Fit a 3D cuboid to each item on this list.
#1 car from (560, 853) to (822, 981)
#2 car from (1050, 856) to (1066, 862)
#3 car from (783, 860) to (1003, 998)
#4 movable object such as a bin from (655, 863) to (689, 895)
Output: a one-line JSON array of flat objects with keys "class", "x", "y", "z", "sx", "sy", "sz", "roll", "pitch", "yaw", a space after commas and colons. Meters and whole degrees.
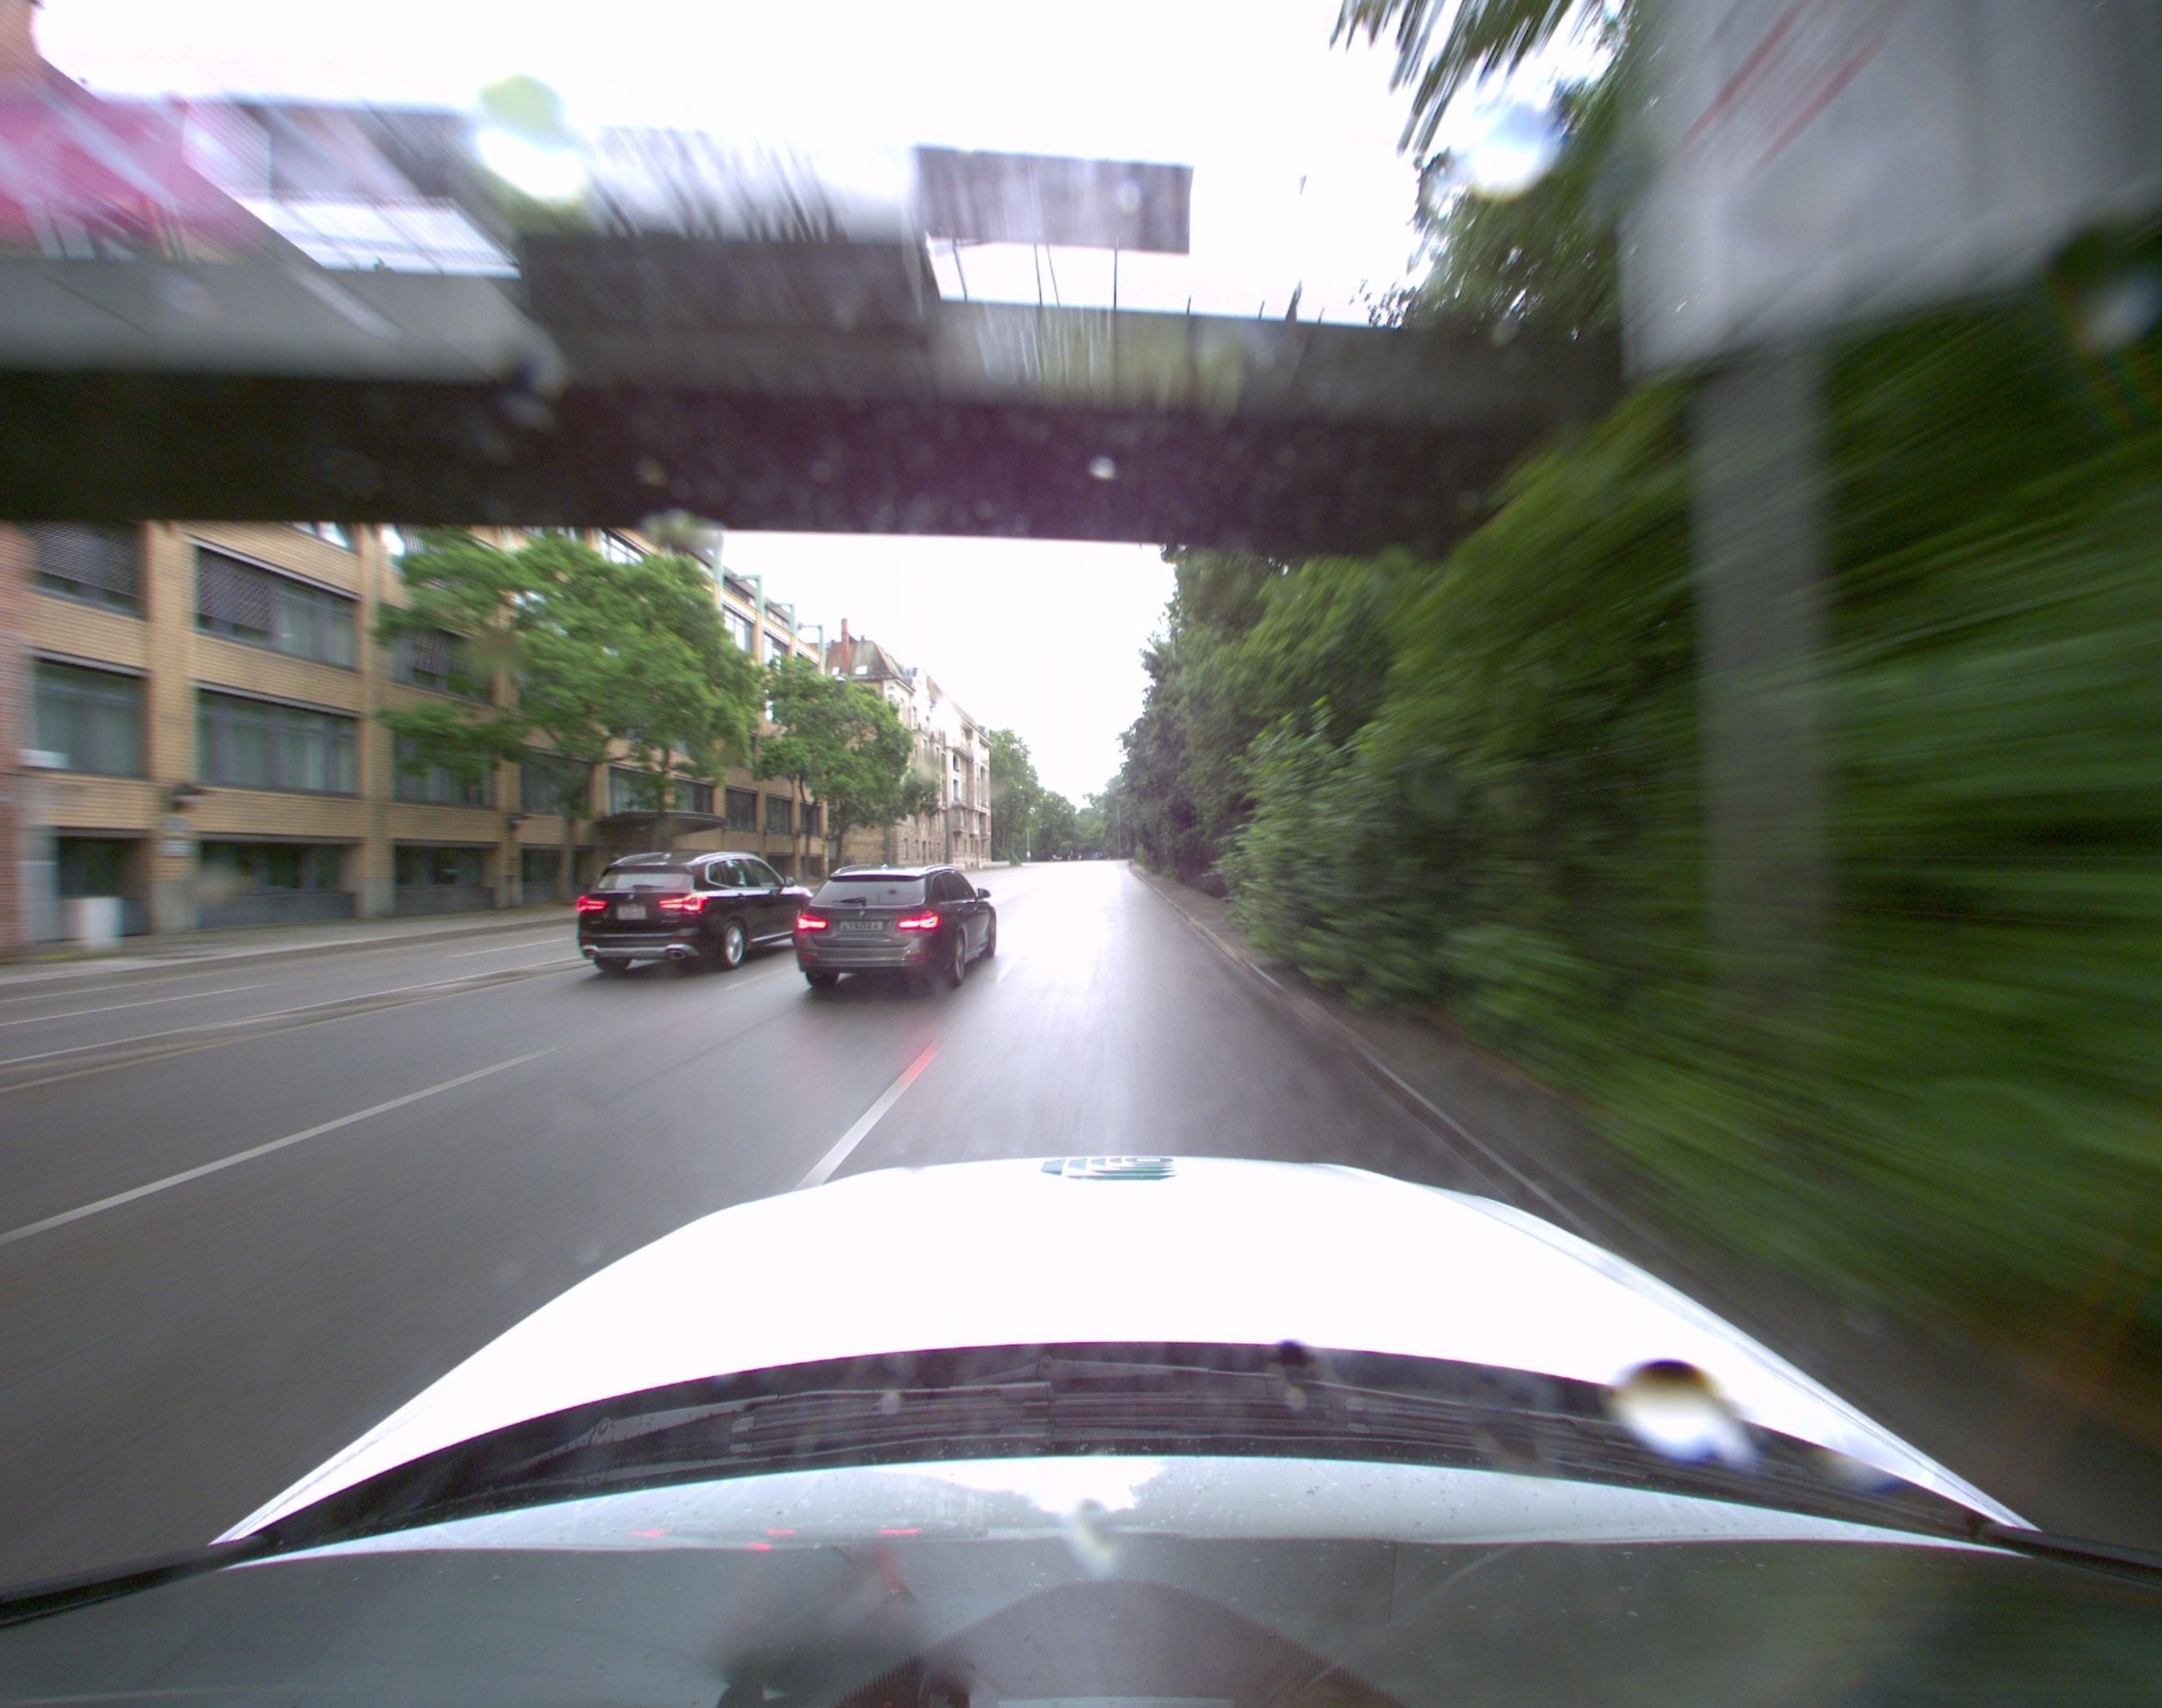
[{"class": "car", "x": -5.650, "y": 0.805, "z": 12.539, "sx": 1.751, "sy": 1.586, "sz": 4.415, "roll": -1, "pitch": 0, "yaw": 2}, {"class": "car", "x": -5.833, "y": 1.335, "z": 205.429, "sx": 1.702, "sy": 1.427, "sz": 4.317, "roll": 3, "pitch": -3, "yaw": -44}, {"class": "car", "x": -2.209, "y": 0.813, "z": 10.849, "sx": 1.751, "sy": 1.432, "sz": 4.415, "roll": 0, "pitch": 0, "yaw": 2}, {"class": "movable object such as a bin", "x": -19.082, "y": 1.174, "z": 38.023, "sx": 0.970, "sy": 1.436, "sz": 1.313, "roll": 0, "pitch": 0, "yaw": -2}]
